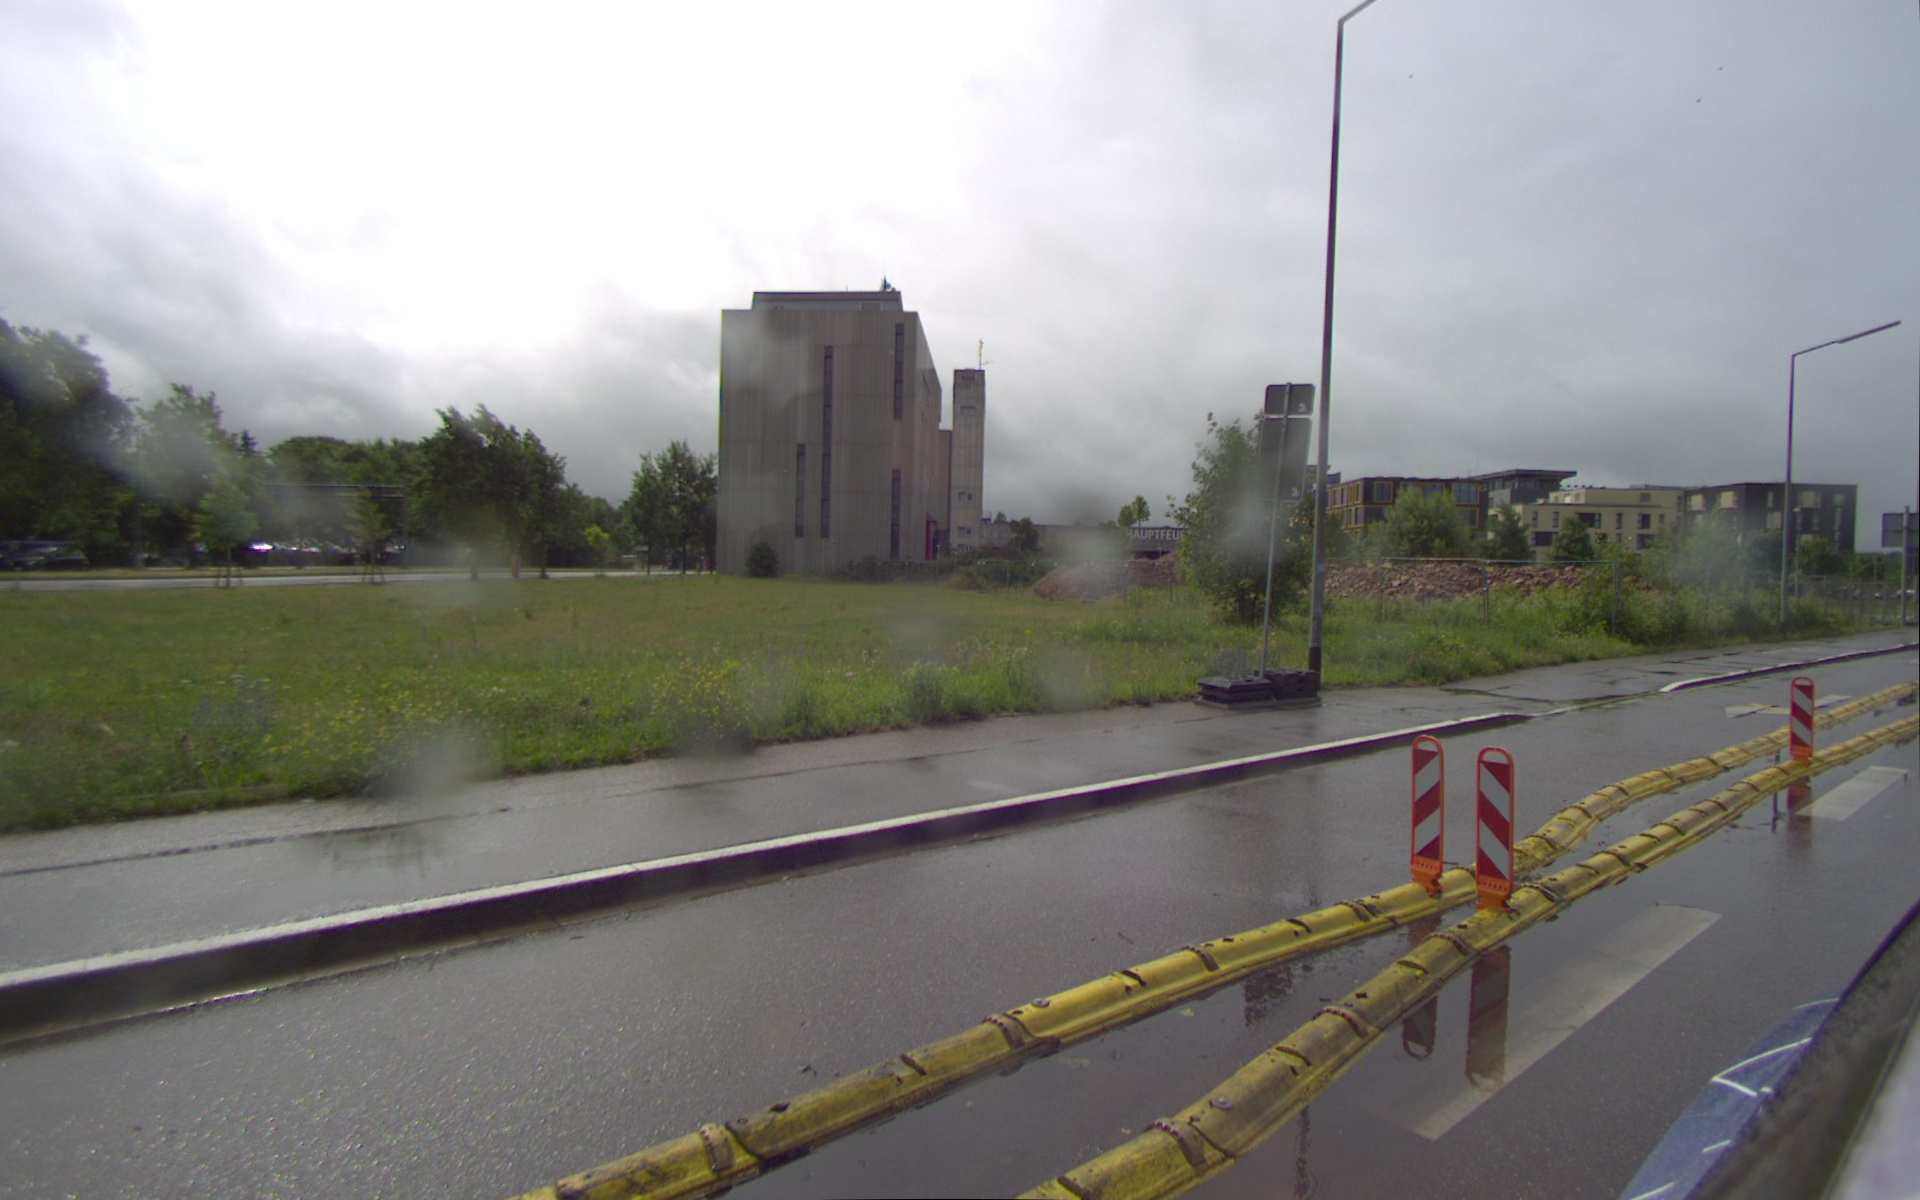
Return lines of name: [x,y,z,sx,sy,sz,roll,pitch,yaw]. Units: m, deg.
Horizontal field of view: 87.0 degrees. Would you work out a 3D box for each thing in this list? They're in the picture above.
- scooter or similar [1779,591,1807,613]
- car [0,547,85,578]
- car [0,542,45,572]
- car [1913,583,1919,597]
scooter or similar: [47.583,0.101,57.794,0.473,1.164,1.197,1,2,-7]
car: [-49.395,-2.016,54.438,1.515,1.578,3.521,1,2,4]
car: [-52.091,-2.329,54.949,1.515,1.578,3.521,1,2,4]
car: [147.281,-1.456,153.256,3.931,2.039,1.997,1,1,7]
